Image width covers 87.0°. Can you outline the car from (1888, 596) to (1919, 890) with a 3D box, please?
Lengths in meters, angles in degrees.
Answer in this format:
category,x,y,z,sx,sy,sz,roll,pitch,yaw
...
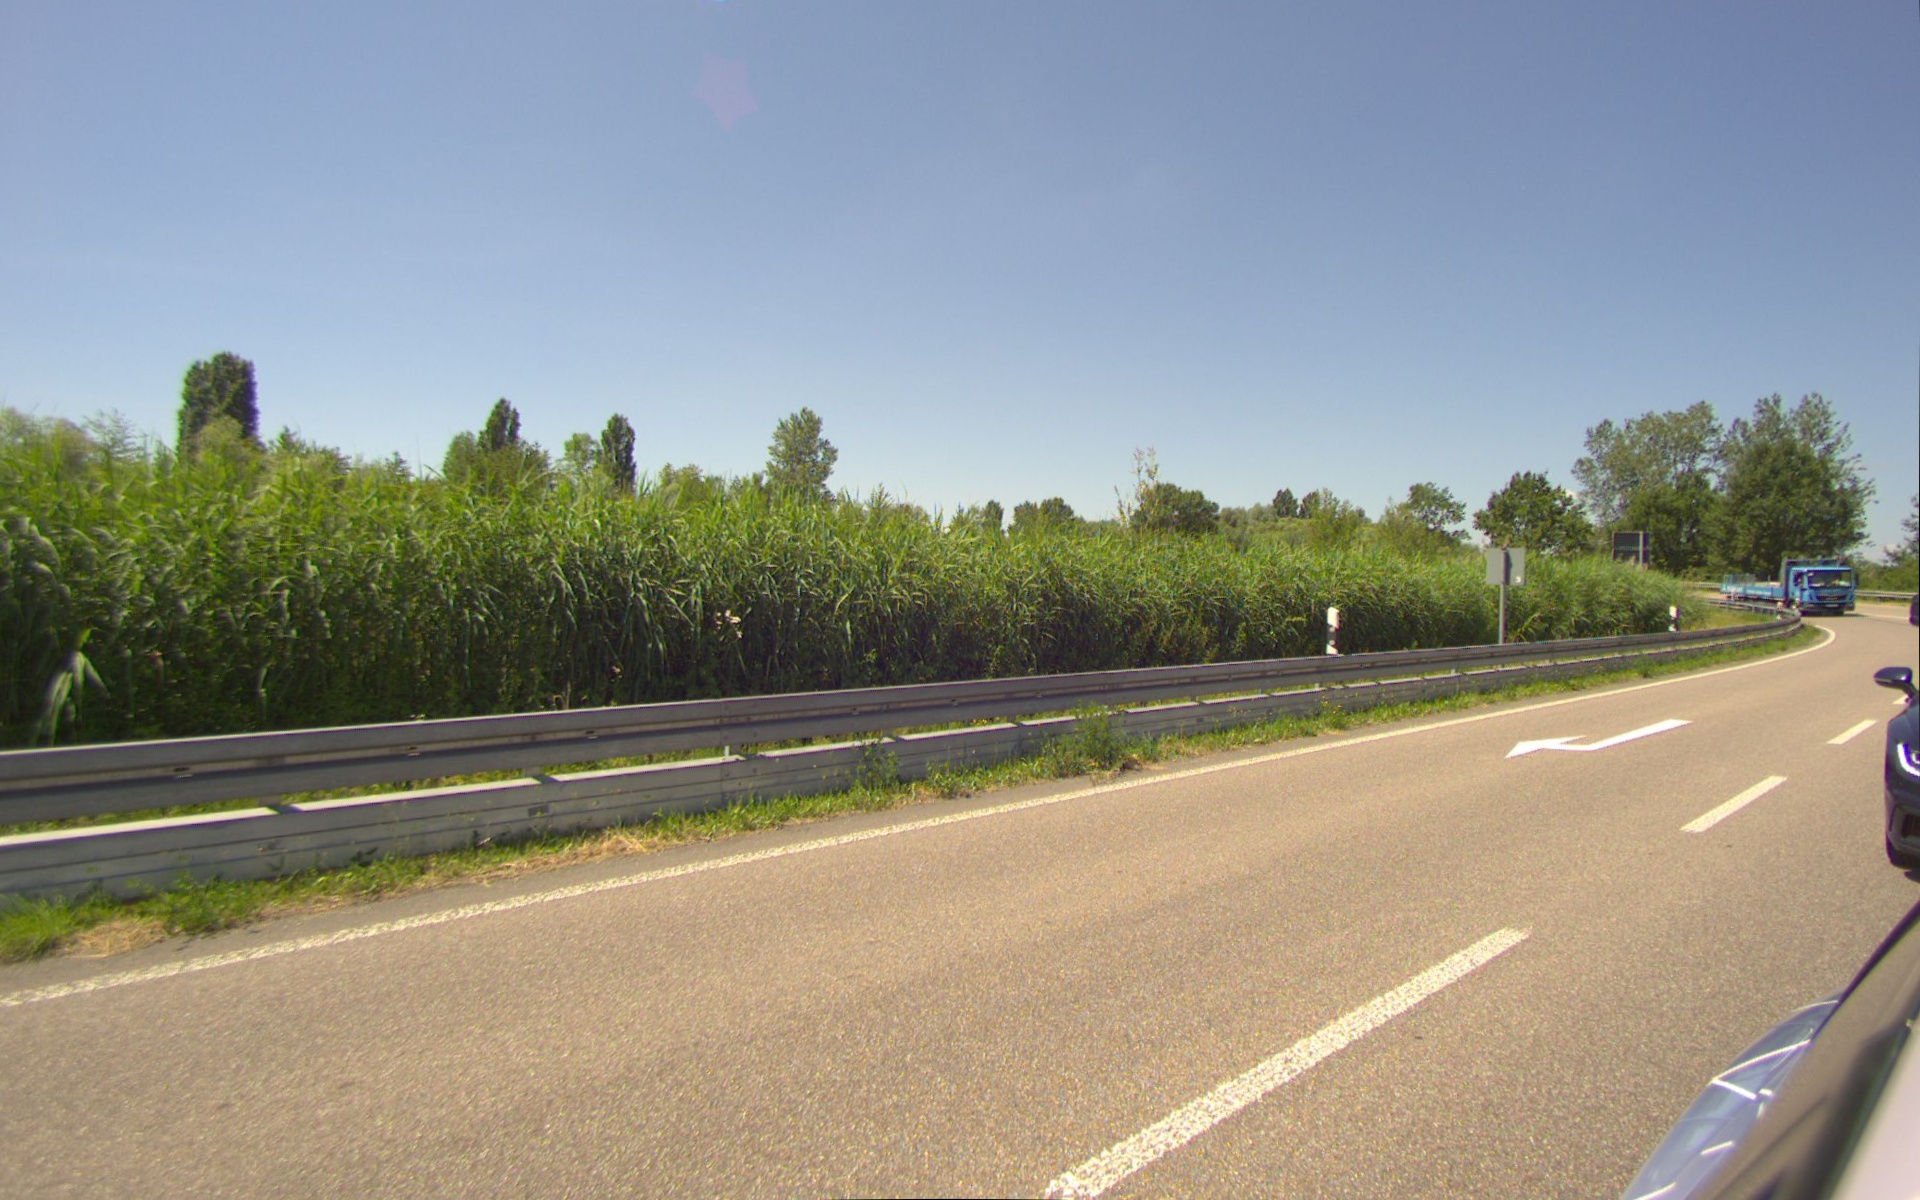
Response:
category,x,y,z,sx,sy,sz,roll,pitch,yaw
car,6.656,0.689,5.668,3.931,1.427,1.759,-1,1,-41

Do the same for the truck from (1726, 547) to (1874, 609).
category,x,y,z,sx,sy,sz,roll,pitch,yaw
truck,45.650,-1.182,55.404,2.540,3.108,9.041,0,1,14
